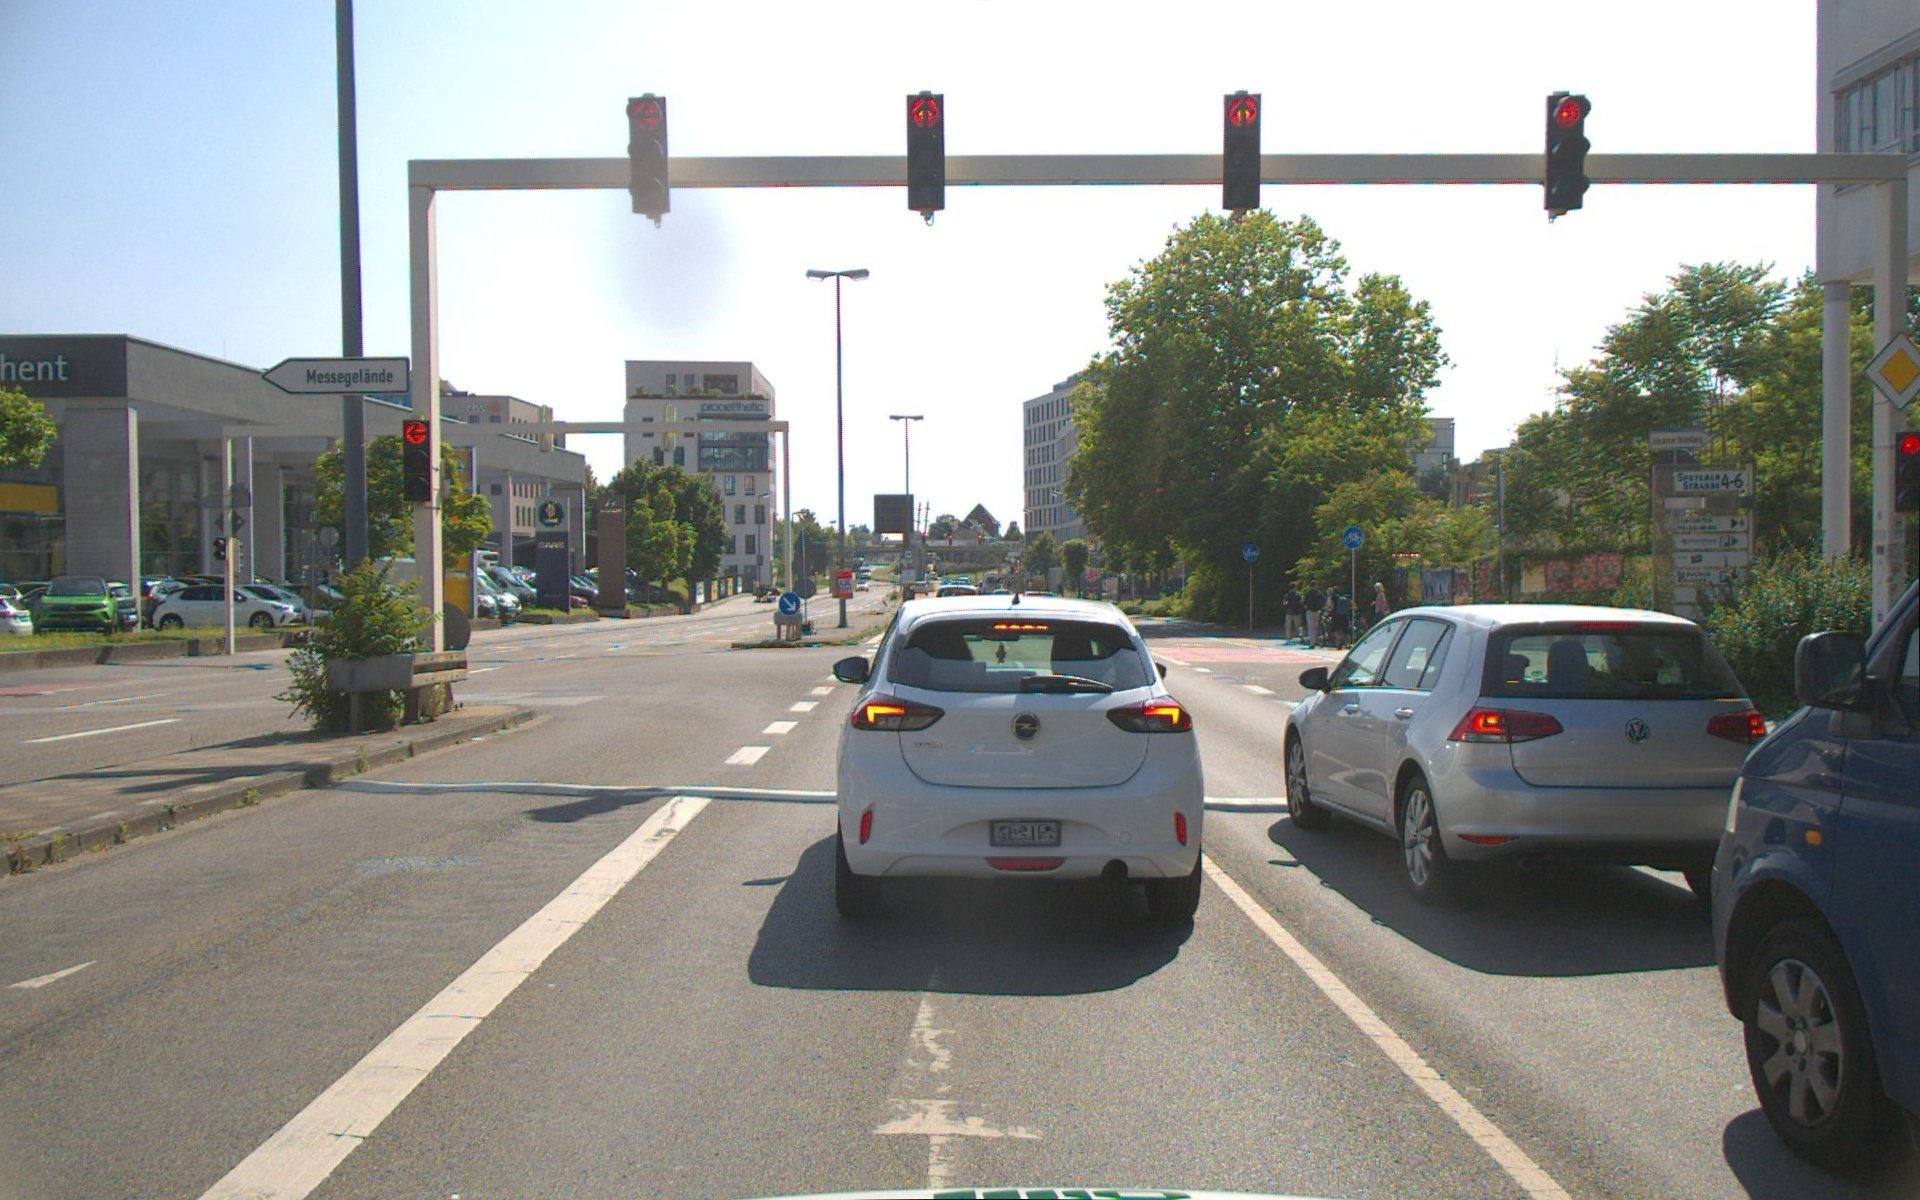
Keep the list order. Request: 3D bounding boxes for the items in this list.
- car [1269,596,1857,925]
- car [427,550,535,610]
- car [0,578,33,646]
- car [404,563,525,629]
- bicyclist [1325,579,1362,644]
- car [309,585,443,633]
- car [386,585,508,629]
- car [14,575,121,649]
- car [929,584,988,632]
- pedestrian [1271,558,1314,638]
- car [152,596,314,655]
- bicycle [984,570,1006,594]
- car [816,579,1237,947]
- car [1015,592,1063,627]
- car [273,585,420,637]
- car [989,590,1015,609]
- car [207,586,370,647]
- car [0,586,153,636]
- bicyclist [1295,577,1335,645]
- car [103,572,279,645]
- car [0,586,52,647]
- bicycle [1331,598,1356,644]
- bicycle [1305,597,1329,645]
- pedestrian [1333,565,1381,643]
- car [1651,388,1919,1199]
[{"bbox_3d":[3.094,0.718,9.444,1.771,1.454,3.998,-1,0,-2],"label":"car"},{"bbox_3d":[-21.786,-0.911,75.355,4.265,2.646,2.001,-1,0,4],"label":"car"},{"bbox_3d":[-26.537,0.332,42.477,4.277,1.726,1.996,-1,0,-10],"label":"car"},{"bbox_3d":[-20.956,-0.167,70.056,4.401,2.731,2.130,-1,0,8],"label":"car"},{"bbox_3d":[9.890,0.293,42.667,0.675,1.672,0.775,-1,0,-9],"label":"bicyclist"},{"bbox_3d":[-21.783,0.314,61.821,4.270,1.726,1.999,-1,0,-3],"label":"car"},{"bbox_3d":[-20.948,0.263,67.612,4.264,1.726,2.002,-1,0,7],"label":"car"},{"bbox_3d":[-22.465,0.319,41.598,1.887,1.764,3.250,-1,-1,-37],"label":"car"},{"bbox_3d":[-0.068,0.286,53.032,1.769,1.410,3.999,2,-1,0],"label":"car"},{"bbox_3d":[9.610,-0.073,47.779,1.006,2.277,1.038,-1,0,-1],"label":"pedestrian"},{"bbox_3d":[-21.342,0.721,48.681,3.912,1.627,1.997,-1,0,-8],"label":"car"},{"bbox_3d":[3.294,-1.688,155.779,1.953,2.195,3.999,-1,0,-1],"label":"bicycle"},{"bbox_3d":[0.251,0.667,8.893,1.743,1.520,3.999,1,0,-1],"label":"car"},{"bbox_3d":[3.308,0.379,70.111,1.769,1.410,3.999,1,0,-1],"label":"car"},{"bbox_3d":[-20.876,0.371,56.413,4.270,1.726,1.999,0,0,-3],"label":"car"},{"bbox_3d":[3.198,-0.054,125.964,1.769,1.410,3.999,1,0,-1],"label":"car"},{"bbox_3d":[-20.752,0.503,51.247,4.211,1.796,1.999,-1,0,-3],"label":"car"},{"bbox_3d":[-26.149,0.335,48.190,4.276,1.290,1.996,-2,-1,-9],"label":"car"},{"bbox_3d":[9.534,0.287,44.470,0.861,1.803,0.863,-1,0,-1],"label":"bicyclist"},{"bbox_3d":[-20.626,0.219,44.486,3.793,1.870,1.999,-1,0,-4],"label":"car"},{"bbox_3d":[-27.446,0.454,45.048,4.276,1.618,1.996,-1,0,-9],"label":"car"},{"bbox_3d":[9.896,0.533,42.713,0.366,1.167,1.034,1,0,-3],"label":"bicycle"},{"bbox_3d":[9.583,0.557,44.465,0.365,1.238,1.153,1,0,-1],"label":"bicycle"},{"bbox_3d":[10.574,0.092,44.117,1.006,2.049,1.038,-1,0,-1],"label":"pedestrian"},{"bbox_3d":[3.298,0.474,3.023,1.953,1.982,4.890,-1,0,-1],"label":"car"}]
